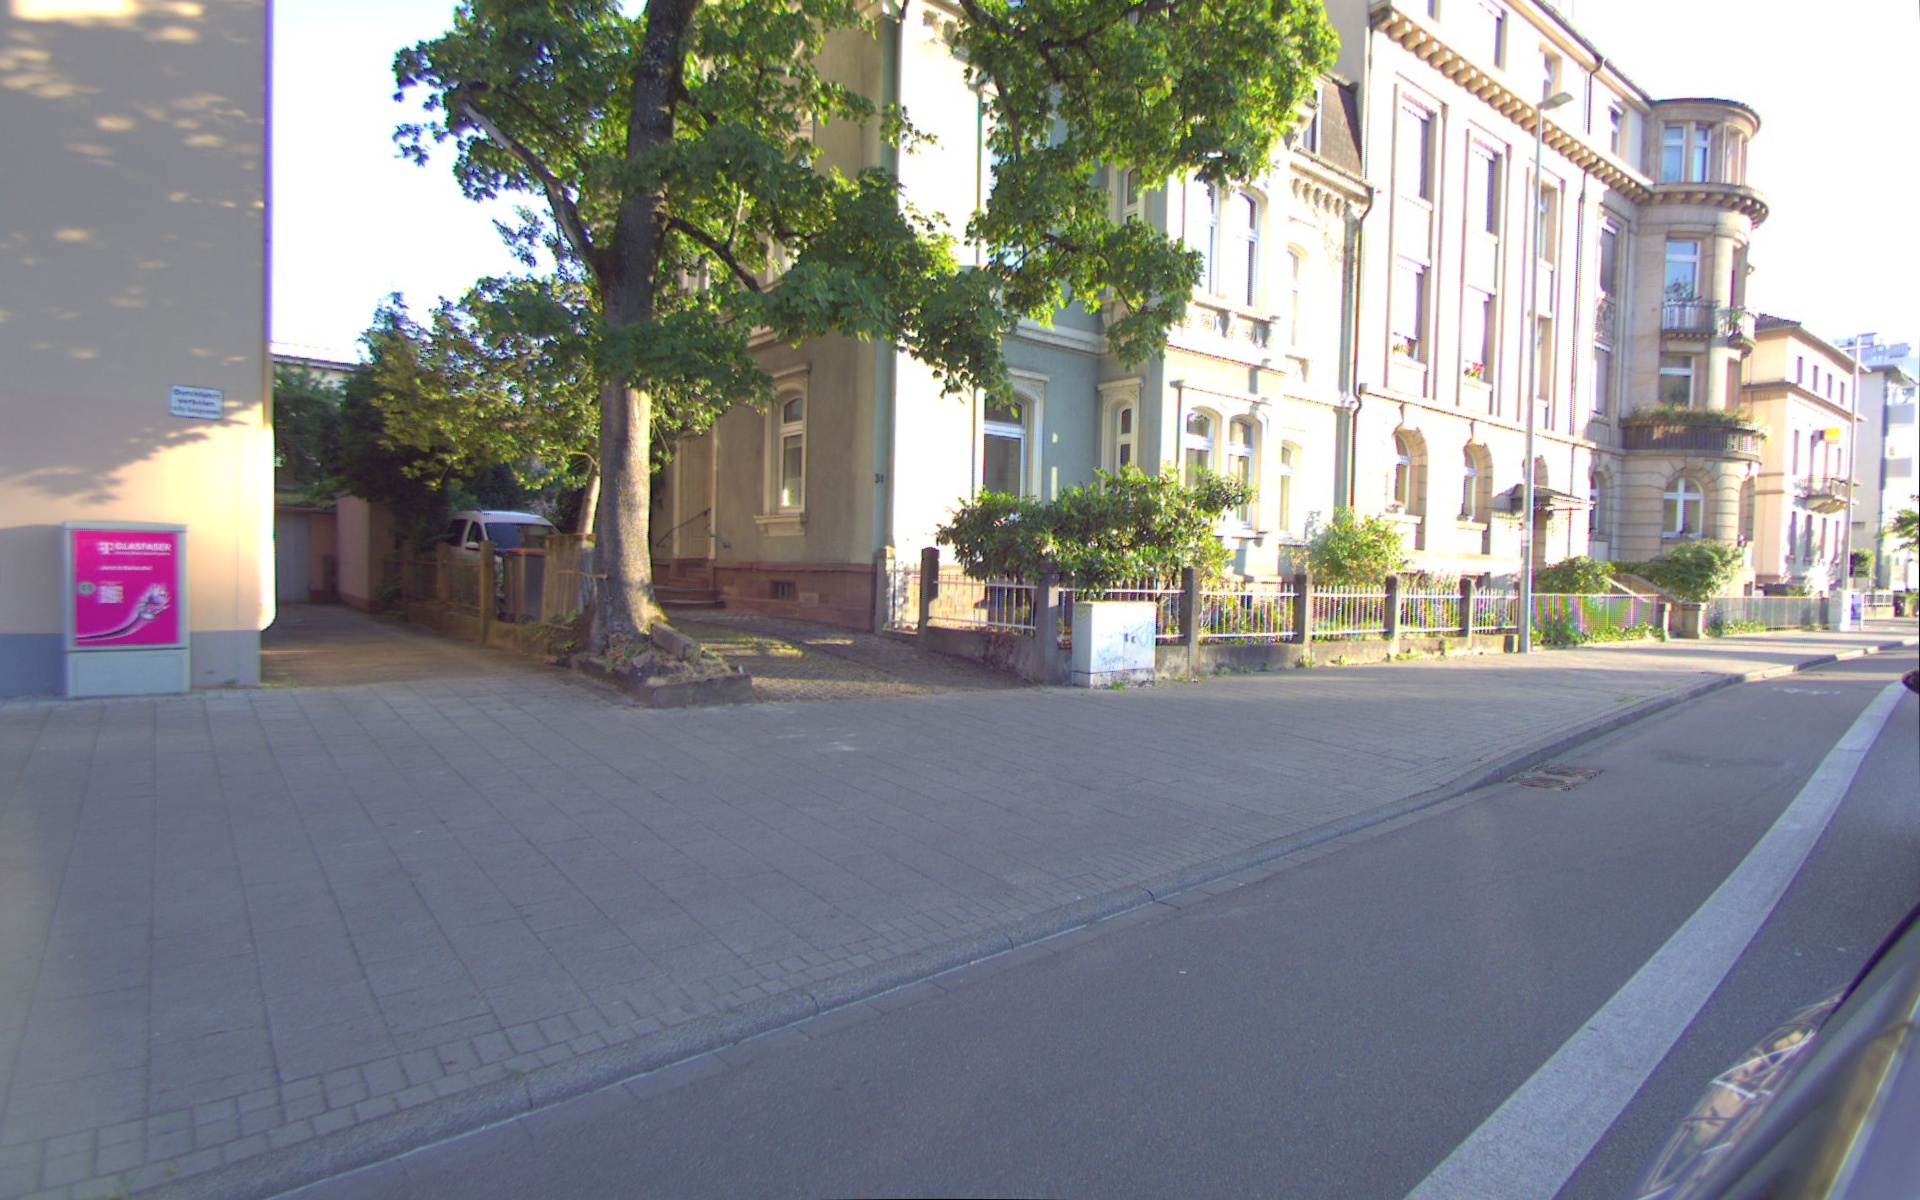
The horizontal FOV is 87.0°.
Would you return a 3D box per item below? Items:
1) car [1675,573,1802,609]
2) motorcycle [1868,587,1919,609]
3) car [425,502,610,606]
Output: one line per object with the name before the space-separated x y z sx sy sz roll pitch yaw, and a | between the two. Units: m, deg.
car | 34.046 -0.417 44.343 1.903 1.499 4.098 0 2 -38
motorcycle | 48.304 -0.121 52.349 0.564 1.110 1.851 0 1 -33
car | -8.653 -0.934 19.590 1.795 1.778 4.513 1 3 -44
